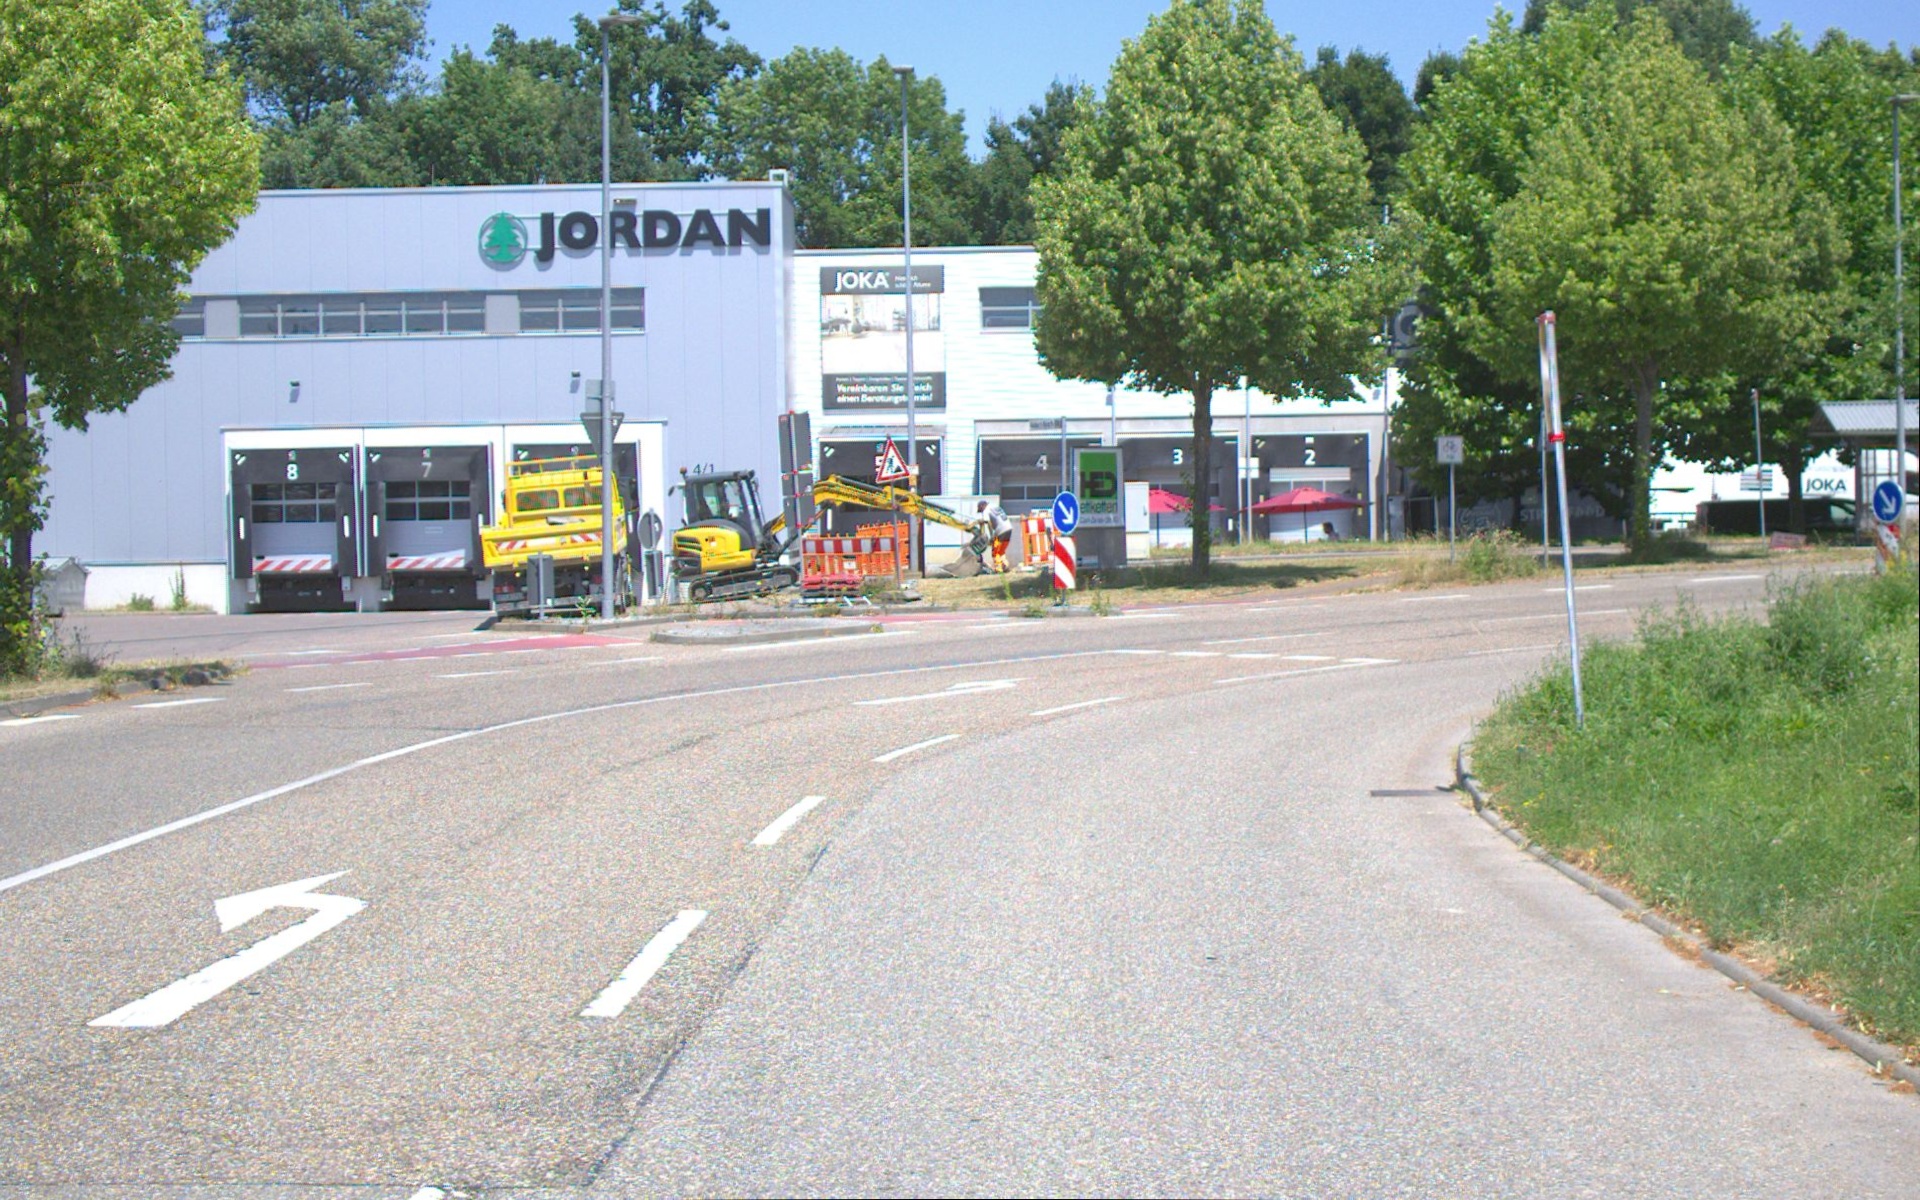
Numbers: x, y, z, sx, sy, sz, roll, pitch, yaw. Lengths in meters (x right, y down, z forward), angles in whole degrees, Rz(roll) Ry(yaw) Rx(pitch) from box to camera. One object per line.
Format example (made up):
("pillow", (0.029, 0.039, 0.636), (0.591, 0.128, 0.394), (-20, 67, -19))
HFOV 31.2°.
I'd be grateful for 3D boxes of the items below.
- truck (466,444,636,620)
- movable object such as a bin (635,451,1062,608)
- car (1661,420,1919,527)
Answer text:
("truck", (-7.854, -1.376, 65.575), (2.938, 2.875, 5.812), (-3, 5, -8))
("movable object such as a bin", (-2.051, -1.379, 65.859), (7.528, 2.491, 3.666), (-2, 5, 9))
("car", (18.821, -2.723, 73.704), (7.173, 2.080, 2.000), (-2, 1, 4))
